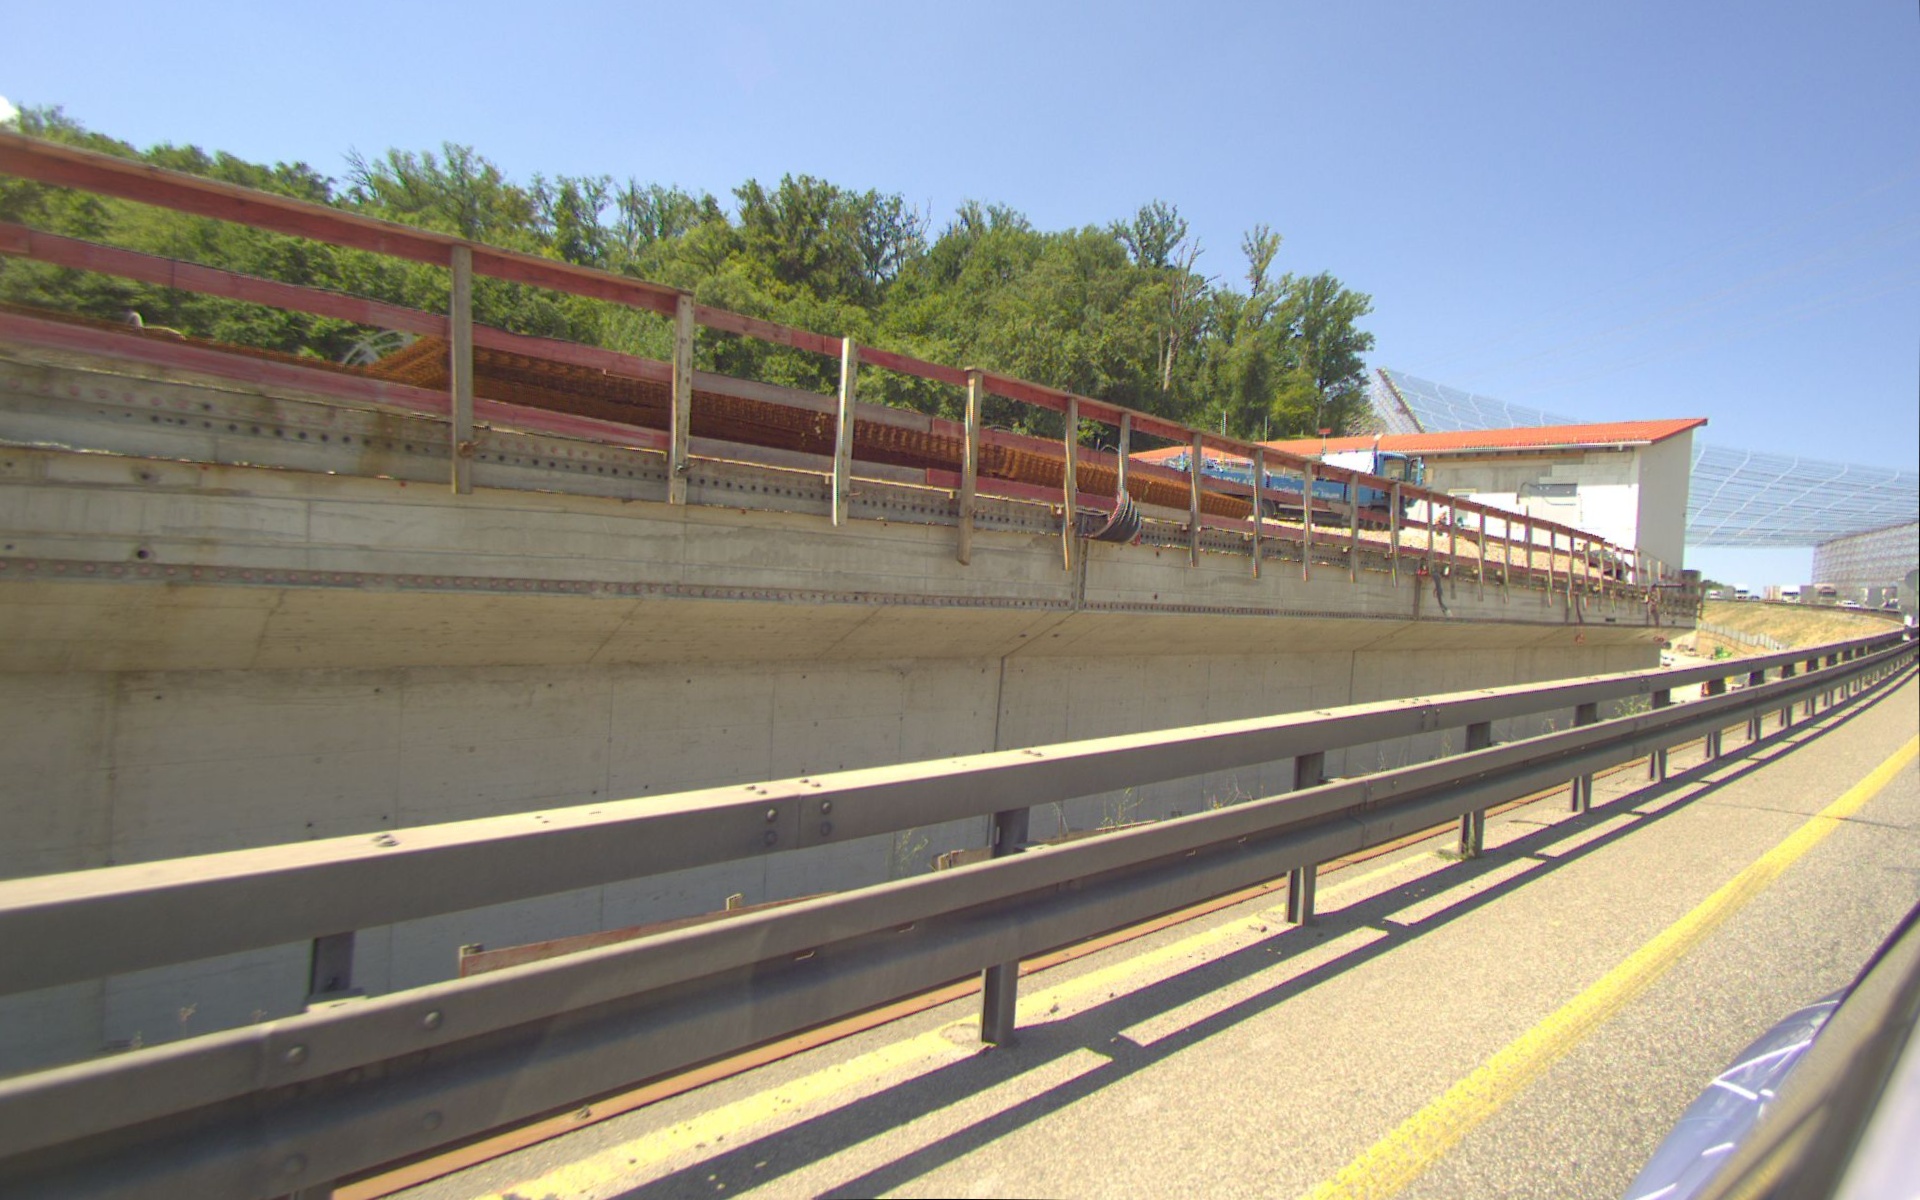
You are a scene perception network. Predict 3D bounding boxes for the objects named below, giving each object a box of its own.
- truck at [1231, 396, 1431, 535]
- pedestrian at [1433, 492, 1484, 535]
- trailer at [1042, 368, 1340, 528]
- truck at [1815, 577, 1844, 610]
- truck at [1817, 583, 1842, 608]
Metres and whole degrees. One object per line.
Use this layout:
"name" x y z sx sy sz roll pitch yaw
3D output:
"truck" 12.152 -4.276 33.248 5.590 3.741 2.725 3 -1 -20
"pedestrian" 14.690 -2.542 29.842 0.976 1.165 1.022 -1 1 -37
"trailer" 7.224 -4.502 31.456 8.806 3.741 2.725 3 -1 -20
"truck" 129.571 -1.013 150.939 3.029 4.865 8.815 0 1 39
"truck" 149.266 -0.859 173.743 3.029 4.107 8.553 0 1 39
